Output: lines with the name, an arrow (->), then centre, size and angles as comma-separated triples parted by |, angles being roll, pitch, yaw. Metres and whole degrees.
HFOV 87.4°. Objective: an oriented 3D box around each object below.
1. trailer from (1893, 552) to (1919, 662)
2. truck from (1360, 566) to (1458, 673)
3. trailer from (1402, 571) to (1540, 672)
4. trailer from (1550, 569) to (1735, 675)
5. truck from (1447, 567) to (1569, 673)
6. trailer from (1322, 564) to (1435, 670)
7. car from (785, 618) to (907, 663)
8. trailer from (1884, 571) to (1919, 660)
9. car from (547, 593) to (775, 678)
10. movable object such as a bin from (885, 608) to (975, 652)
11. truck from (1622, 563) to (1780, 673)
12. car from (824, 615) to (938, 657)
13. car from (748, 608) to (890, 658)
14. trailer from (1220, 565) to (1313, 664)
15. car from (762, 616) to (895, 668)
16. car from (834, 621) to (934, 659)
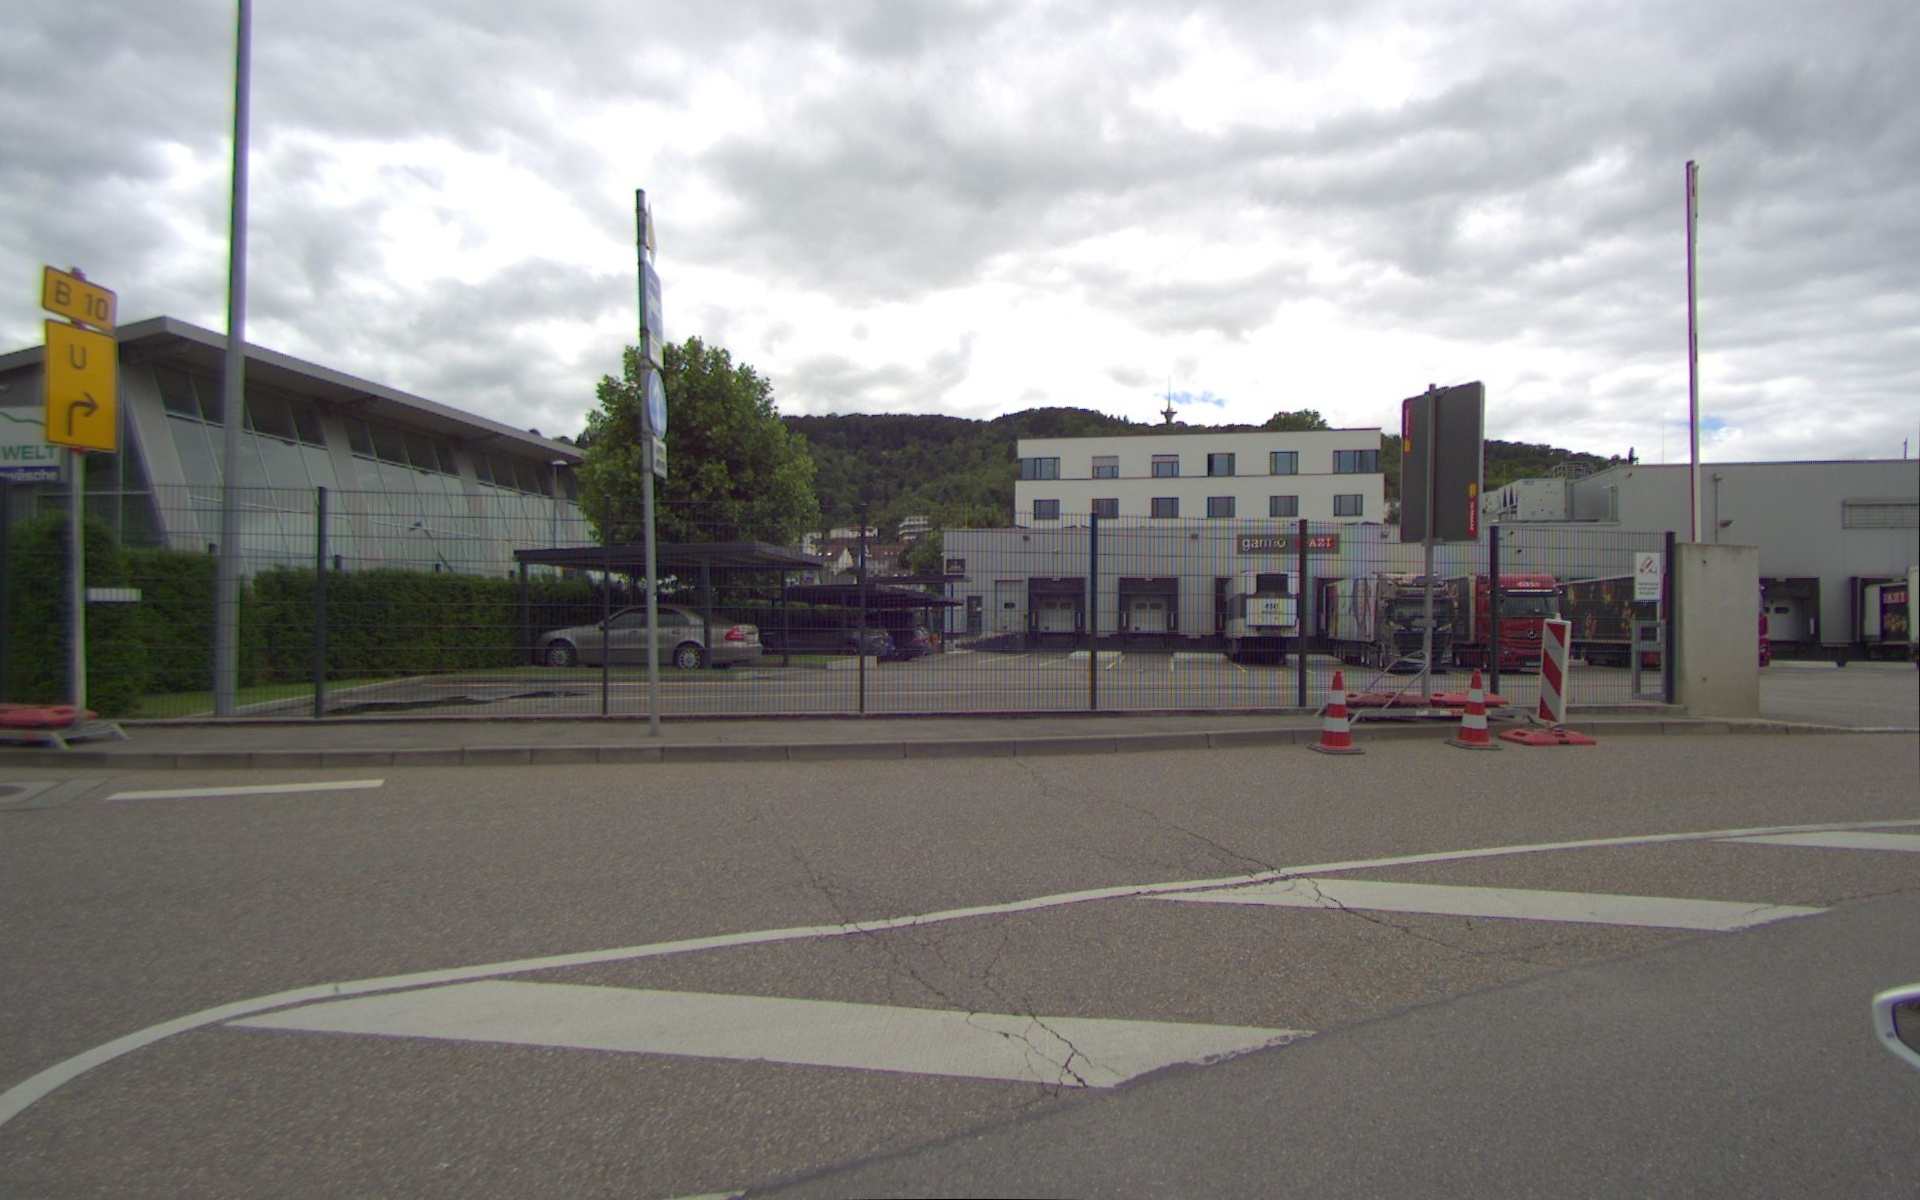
trailer -> 38.129, 0.155, 32.804 | 2.975, 4.239, 14.025 | 1, -1, 3
truck -> 18.099, 0.793, 40.746 | 2.745, 4.093, 4.168 | 0, -1, 11
trailer -> 23.244, 1.003, 46.449 | 2.735, 4.131, 11.004 | 0, -1, 11
trailer -> 30.072, 0.990, 44.991 | 2.735, 4.131, 11.004 | 0, -1, 11
truck -> 22.204, 0.820, 41.046 | 2.745, 3.980, 5.929 | 0, -1, 11
trailer -> 19.393, 0.840, 47.317 | 2.735, 4.358, 11.190 | 0, -1, 11
car -> -4.197, 1.491, 37.296 | 4.161, 1.579, 1.969 | 0, -1, 5
trailer -> 45.202, 0.612, 42.516 | 2.727, 4.162, 13.101 | 0, -1, 13
car -> -6.291, 0.740, 21.438 | 4.161, 1.692, 2.075 | 0, -1, 5
movable object such as a bin -> -1.531, 1.571, 52.994 | 4.507, 2.255, 2.082 | 0, -1, 5
truck -> 29.002, 0.719, 39.655 | 2.745, 3.980, 5.929 | 0, -1, 11
car -> -3.066, 1.406, 39.516 | 4.161, 1.579, 1.969 | 0, -1, 5
car -> -4.454, 1.047, 32.155 | 4.161, 1.512, 1.969 | 0, -1, 5
trailer -> 14.329, 0.755, 47.862 | 3.028, 4.131, 11.418 | 0, -1, 11
car -> -4.443, 1.404, 34.324 | 4.161, 1.669, 1.969 | 0, -1, 5
car -> -3.346, 1.754, 44.670 | 4.161, 1.579, 1.969 | 0, -1, 5
